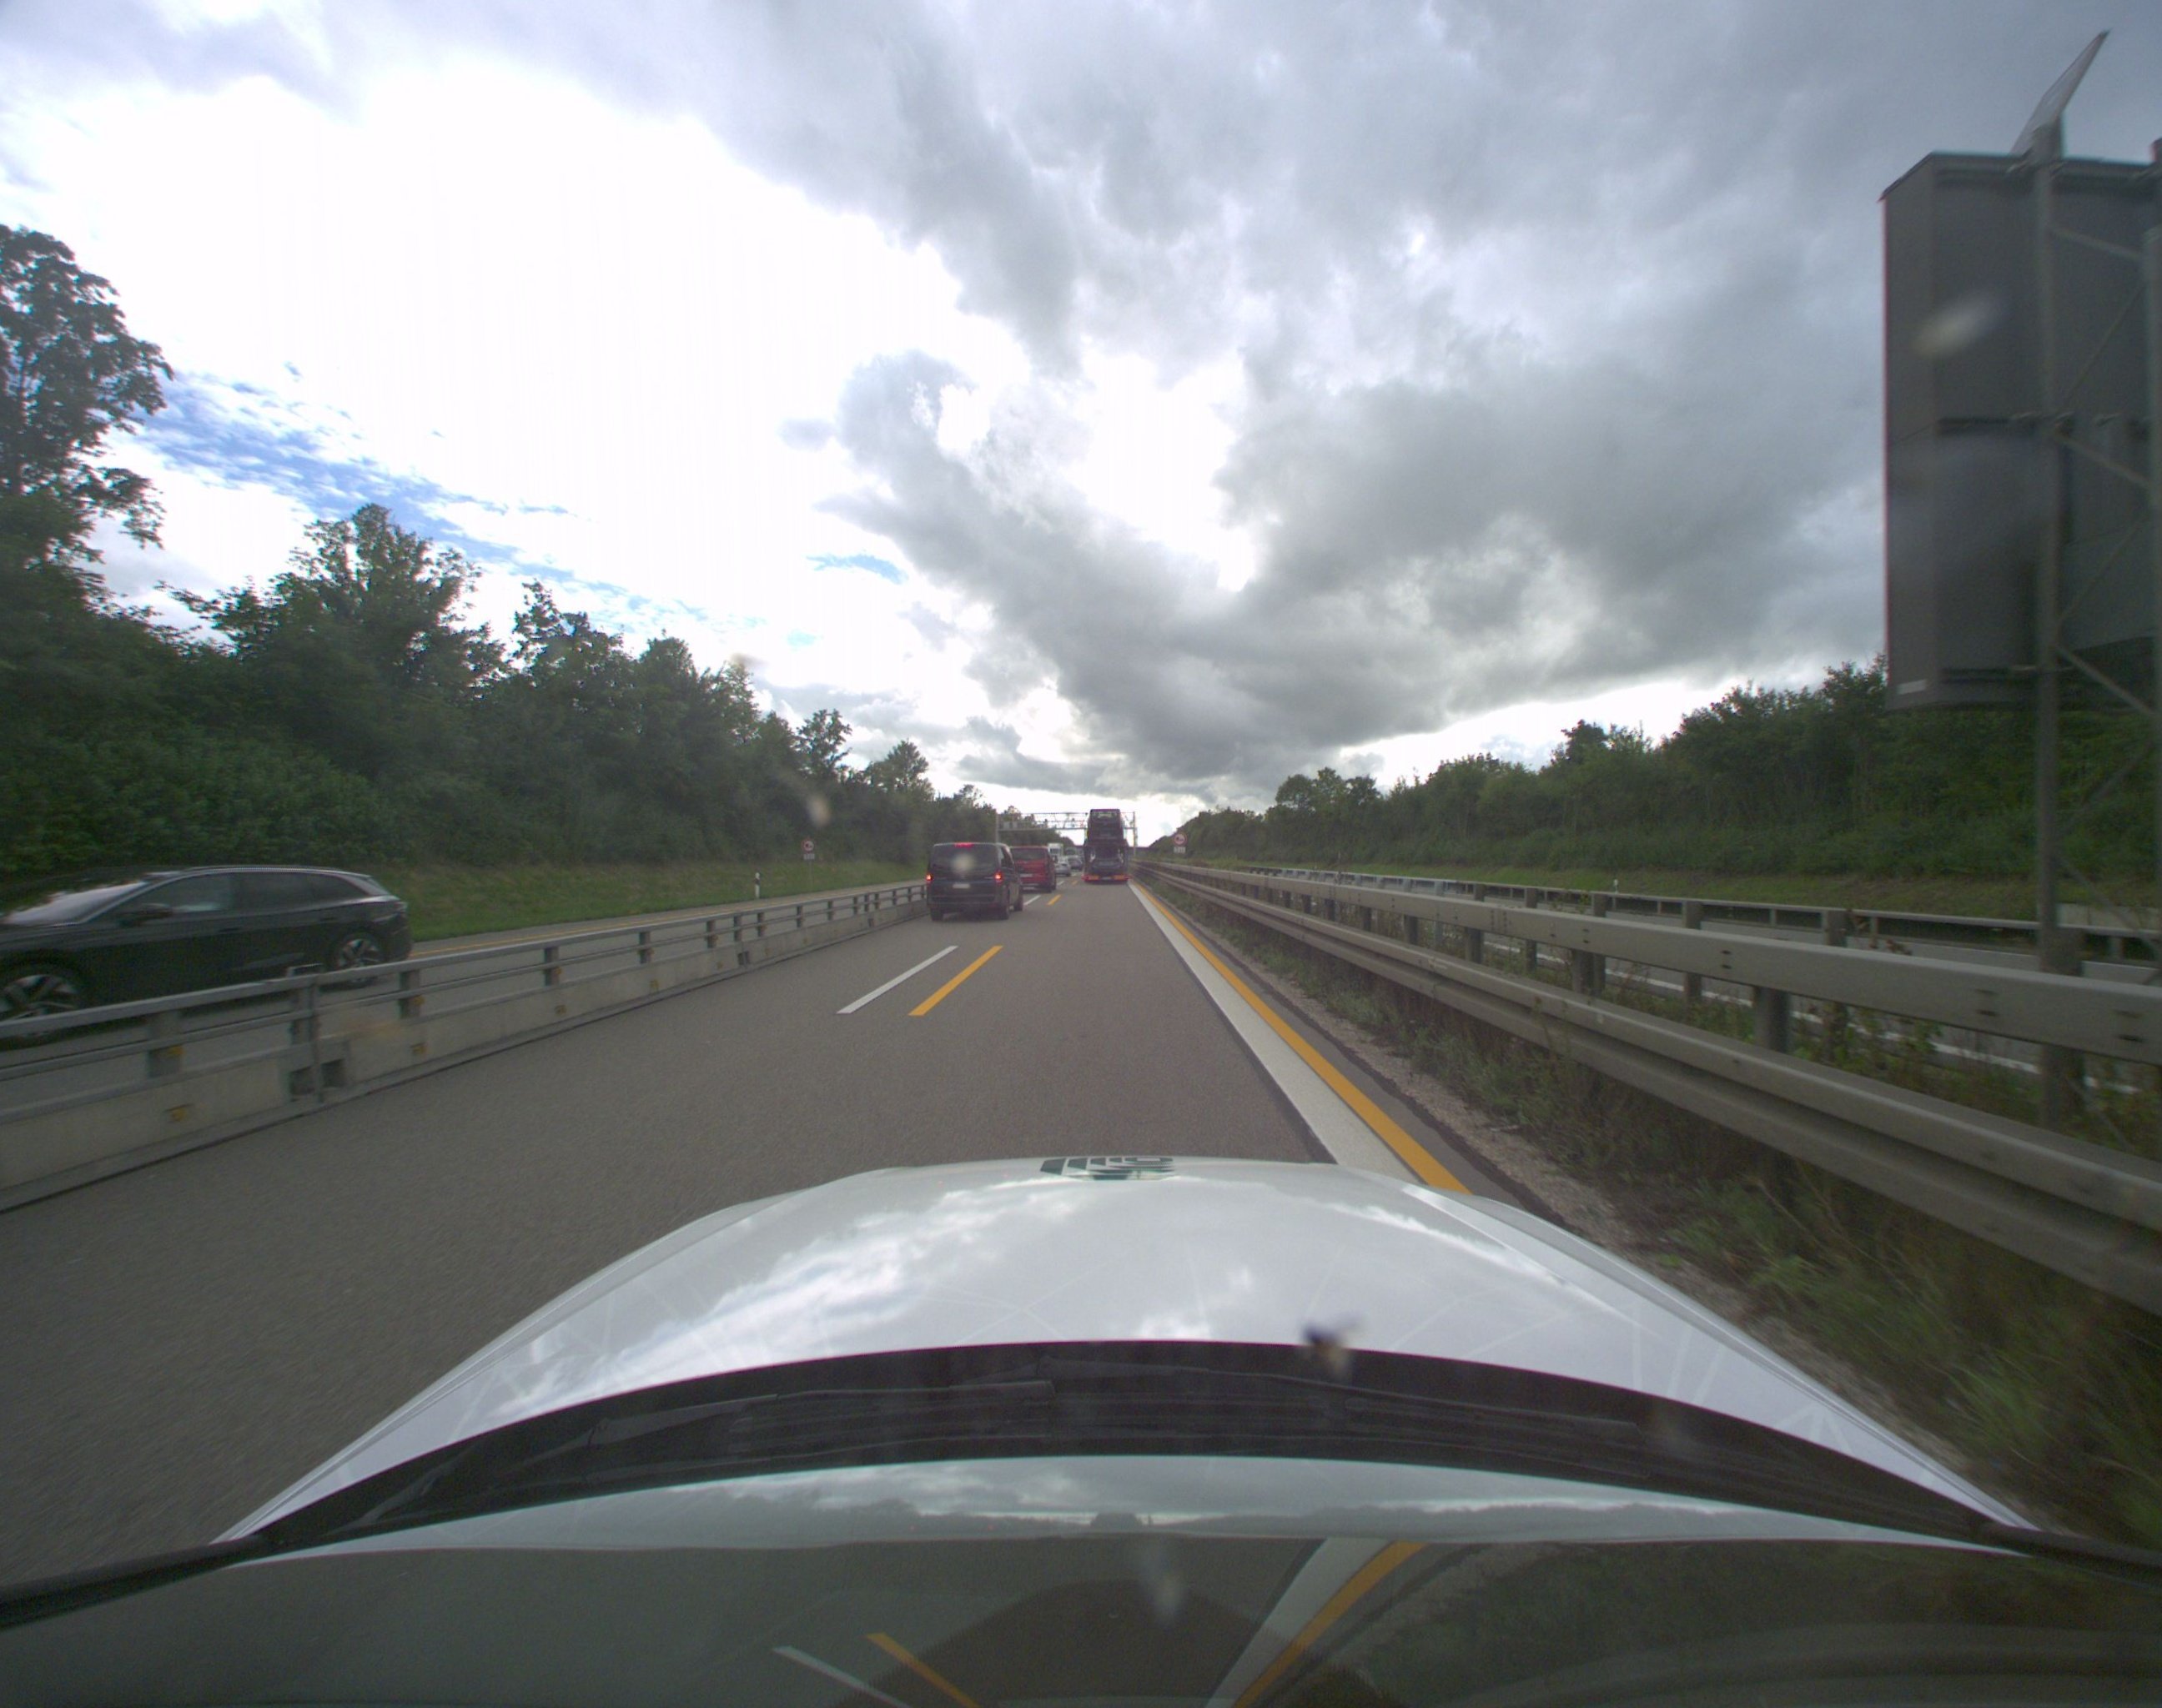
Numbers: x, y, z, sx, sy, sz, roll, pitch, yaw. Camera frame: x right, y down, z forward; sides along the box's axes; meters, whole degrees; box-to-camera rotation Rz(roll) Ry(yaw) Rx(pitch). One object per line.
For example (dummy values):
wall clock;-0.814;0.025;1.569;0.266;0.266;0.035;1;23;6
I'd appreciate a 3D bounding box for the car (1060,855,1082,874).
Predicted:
car;-0.963;1.021;81.675;2.024;1.757;4.578;-1;0;1

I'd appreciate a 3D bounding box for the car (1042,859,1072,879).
car;-1.756;1.094;61.174;2.024;1.431;4.578;-1;0;1

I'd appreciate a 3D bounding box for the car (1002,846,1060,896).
car;-2.096;0.697;35.466;2.023;2.014;4.579;-1;0;2

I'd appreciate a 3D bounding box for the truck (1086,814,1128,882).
truck;1.720;-0.360;52.596;2.505;4.105;5.688;-1;0;2

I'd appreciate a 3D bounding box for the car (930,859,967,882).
car;-8.625;1.064;53.300;1.689;1.454;3.960;0;0;1

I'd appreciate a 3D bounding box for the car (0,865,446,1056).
car;-9.818;0.915;8.709;1.986;1.524;5.026;-1;0;2

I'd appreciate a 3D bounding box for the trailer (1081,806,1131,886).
trailer;1.527;-0.386;47.855;2.505;4.105;11.119;-1;0;2

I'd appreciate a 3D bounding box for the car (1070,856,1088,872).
car;-0.181;1.158;97.056;2.024;1.757;4.578;-1;0;1

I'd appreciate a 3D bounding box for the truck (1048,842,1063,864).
truck;-5.055;-0.187;160.371;2.589;4.155;5.622;0;0;1

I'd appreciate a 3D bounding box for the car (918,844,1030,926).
car;-2.643;0.722;21.525;1.986;1.843;5.611;-1;0;2
